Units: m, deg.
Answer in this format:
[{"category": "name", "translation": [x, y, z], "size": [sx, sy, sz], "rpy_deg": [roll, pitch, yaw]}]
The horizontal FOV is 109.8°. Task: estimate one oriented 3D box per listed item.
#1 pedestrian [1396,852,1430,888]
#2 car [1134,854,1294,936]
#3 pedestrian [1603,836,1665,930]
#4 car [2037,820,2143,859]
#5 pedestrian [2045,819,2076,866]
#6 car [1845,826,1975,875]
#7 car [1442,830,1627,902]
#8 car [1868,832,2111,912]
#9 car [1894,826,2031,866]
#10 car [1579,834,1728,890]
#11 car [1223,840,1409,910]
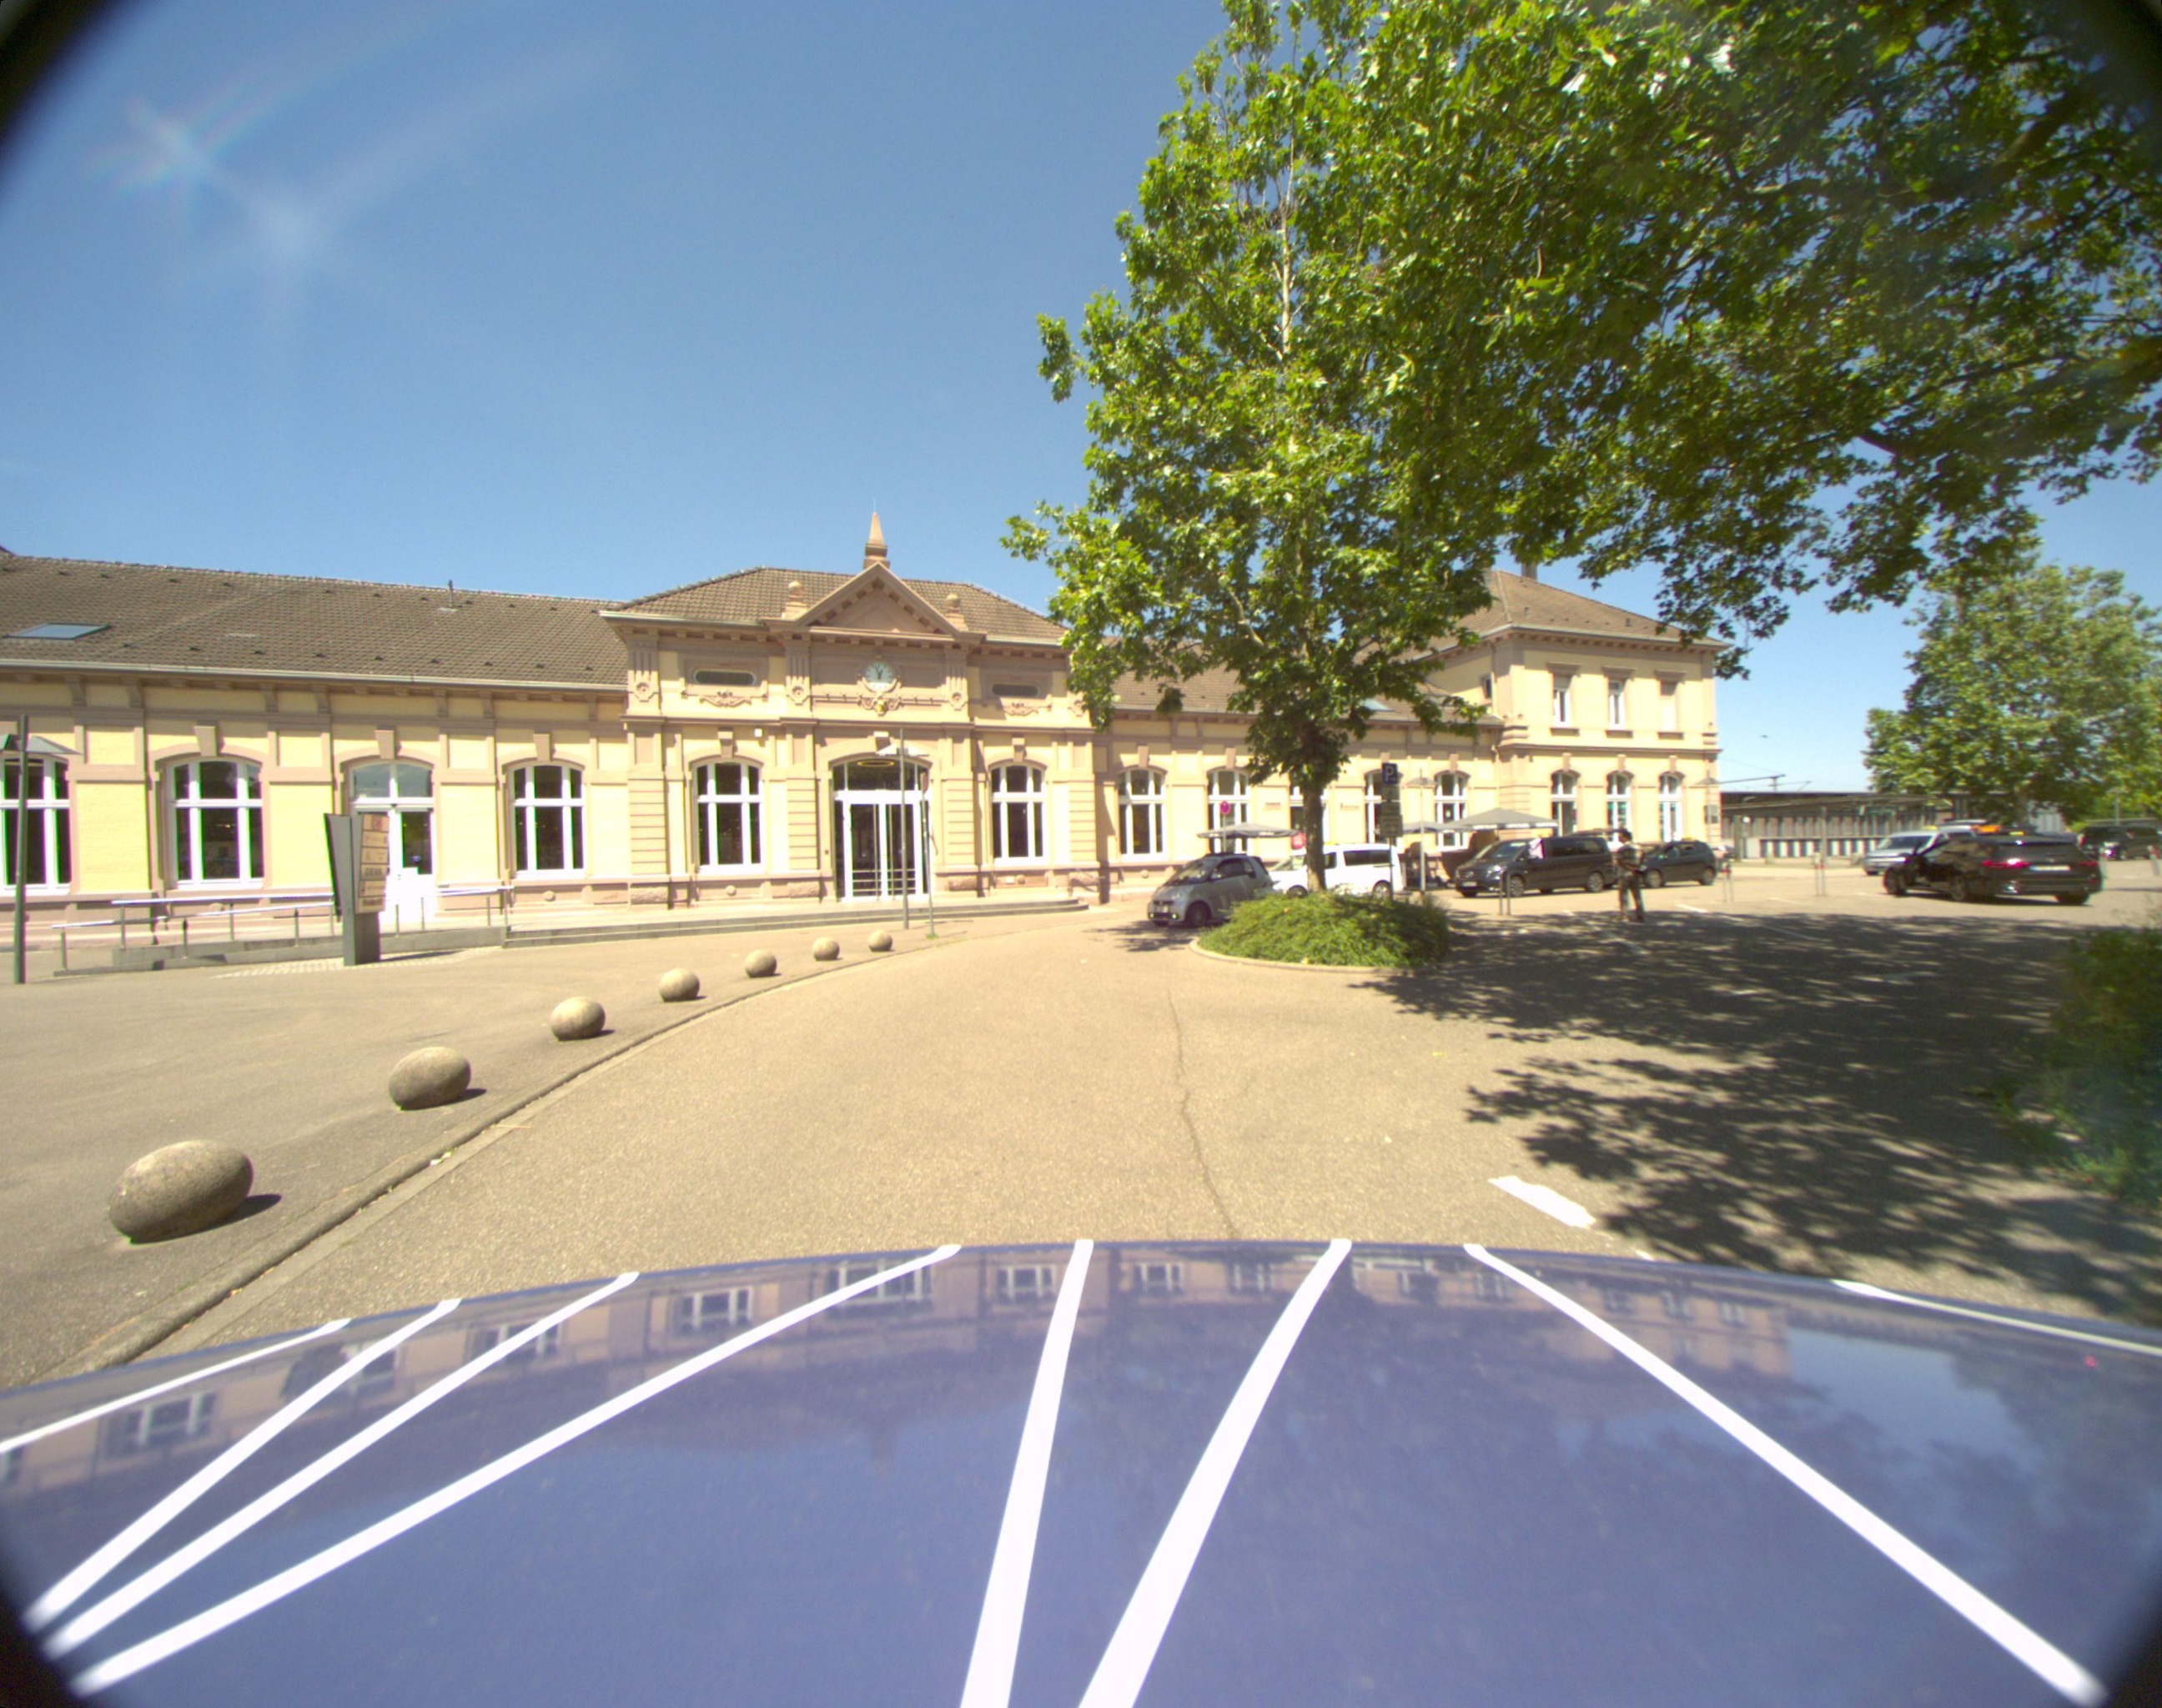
[{"category": "pedestrian", "translation": [12.999, 0.609, 29.759], "size": [0.853, 1.363, 0.880], "rpy_deg": [-2, 2, -23]}, {"category": "car", "translation": [2.935, 0.836, 16.803], "size": [3.110, 1.584, 1.598], "rpy_deg": [-2, 0, -27]}, {"category": "pedestrian", "translation": [10.374, 0.533, 14.278], "size": [0.772, 1.707, 0.816], "rpy_deg": [-1, 0, 25]}, {"category": "car", "translation": [53.454, -0.754, 40.256], "size": [4.250, 1.778, 1.998], "rpy_deg": [-2, -2, -18]}, {"category": "pedestrian", "translation": [43.039, -0.501, 33.380], "size": [0.618, 1.978, 0.628], "rpy_deg": [-2, -1, -24]}, {"category": "car", "translation": [34.502, -0.146, 31.615], "size": [5.324, 1.829, 2.001], "rpy_deg": [-2, -2, -24]}, {"category": "car", "translation": [14.617, 0.348, 24.462], "size": [5.832, 2.111, 2.090], "rpy_deg": [-1, -1, -24]}, {"category": "car", "translation": [20.492, 0.335, 17.464], "size": [1.796, 1.534, 4.536], "rpy_deg": [-3, 1, 25]}, {"category": "car", "translation": [53.252, -0.418, 46.051], "size": [2.053, 2.107, 4.958], "rpy_deg": [-2, -2, -20]}, {"category": "car", "translation": [20.337, 0.260, 26.992], "size": [4.846, 1.829, 2.077], "rpy_deg": [-1, -1, -24]}, {"category": "car", "translation": [6.904, 0.565, 22.268], "size": [5.144, 1.854, 1.812], "rpy_deg": [-1, -1, -21]}]
